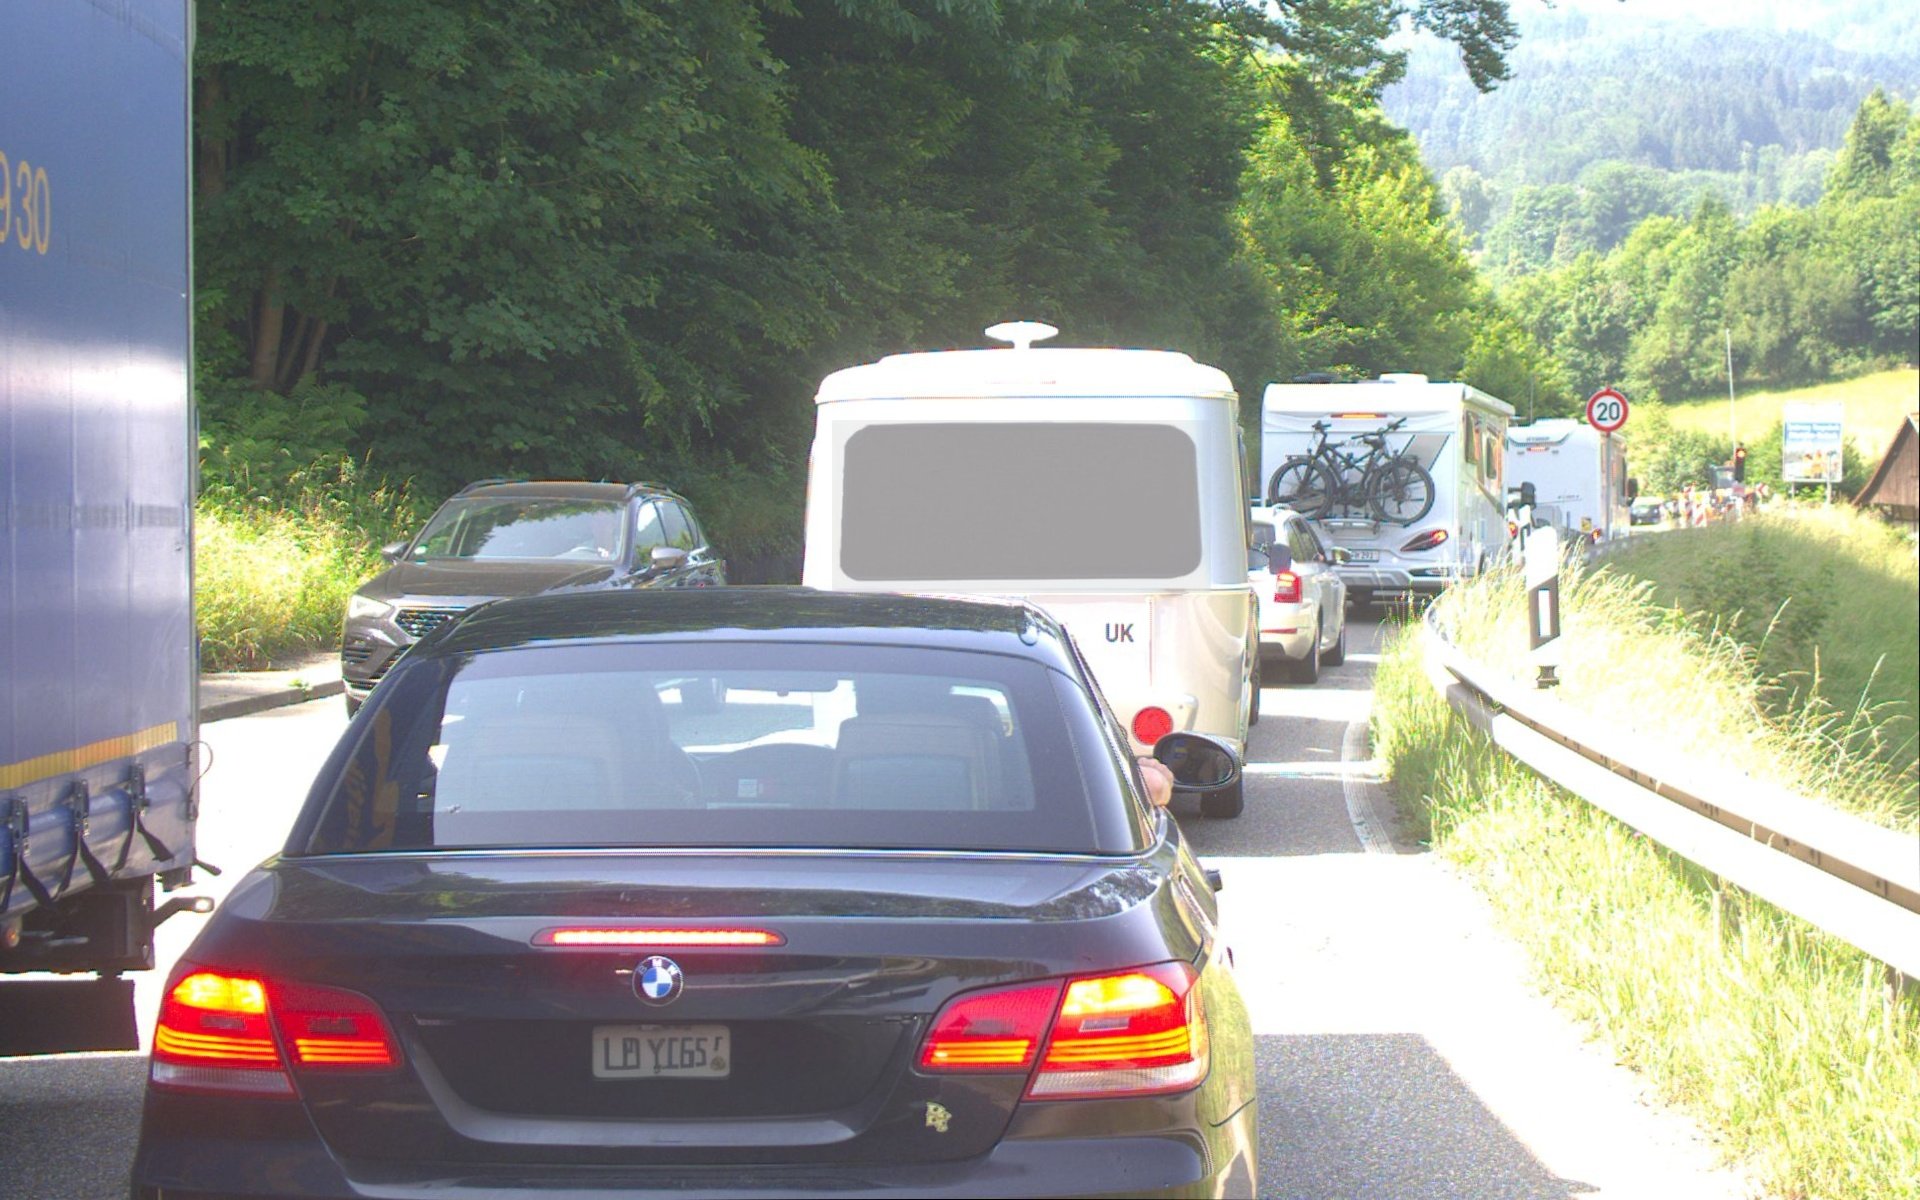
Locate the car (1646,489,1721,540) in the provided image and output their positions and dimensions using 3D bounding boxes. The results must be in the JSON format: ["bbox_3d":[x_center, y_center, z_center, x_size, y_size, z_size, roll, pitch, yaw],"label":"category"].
[{"bbox_3d":[23.581,-2.781,111.992,1.995,1.570,3.997,1,1,17],"label":"car"}]

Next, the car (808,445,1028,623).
[{"bbox_3d":[-0.396,-0.751,37.885,1.919,1.820,4.490,-1,2,6],"label":"car"}]

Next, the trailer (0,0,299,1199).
[{"bbox_3d":[-3.401,-0.778,2.317,3.259,4.402,15.318,0,2,-1],"label":"trailer"}]

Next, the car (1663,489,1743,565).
[{"bbox_3d":[20.481,-1.989,94.641,1.995,1.919,3.998,4,1,13],"label":"car"}]

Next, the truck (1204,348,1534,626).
[{"bbox_3d":[5.069,-1.388,41.456,2.793,2.987,6.863,3,3,16],"label":"truck"}]

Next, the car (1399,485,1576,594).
[{"bbox_3d":[7.866,-0.928,51.011,1.995,1.459,3.997,3,3,17],"label":"car"}]

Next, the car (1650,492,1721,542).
[{"bbox_3d":[25.677,-2.930,121.620,1.995,1.678,3.996,1,0,18],"label":"car"}]

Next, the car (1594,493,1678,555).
[{"bbox_3d":[16.734,-1.863,85.029,1.907,1.481,3.998,1,1,13],"label":"car"}]

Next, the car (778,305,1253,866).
[{"bbox_3d":[0.420,-0.151,16.908,1.994,2.345,4.913,0,2,5],"label":"car"}]

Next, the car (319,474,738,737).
[{"bbox_3d":[-2.762,-0.037,22.902,1.822,1.579,4.082,1,2,7],"label":"car"}]

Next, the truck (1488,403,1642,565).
[{"bbox_3d":[11.142,-2.057,62.949,2.239,2.794,6.228,1,1,15],"label":"truck"}]

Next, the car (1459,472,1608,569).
[{"bbox_3d":[9.485,-1.340,56.634,1.789,1.459,3.997,3,3,18],"label":"car"}]

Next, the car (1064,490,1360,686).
[{"bbox_3d":[2.220,-0.156,29.214,1.994,1.479,3.998,2,2,11],"label":"car"}]

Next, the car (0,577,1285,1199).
[{"bbox_3d":[-0.382,0.669,6.451,1.771,1.331,3.767,0,2,2],"label":"car"}]
